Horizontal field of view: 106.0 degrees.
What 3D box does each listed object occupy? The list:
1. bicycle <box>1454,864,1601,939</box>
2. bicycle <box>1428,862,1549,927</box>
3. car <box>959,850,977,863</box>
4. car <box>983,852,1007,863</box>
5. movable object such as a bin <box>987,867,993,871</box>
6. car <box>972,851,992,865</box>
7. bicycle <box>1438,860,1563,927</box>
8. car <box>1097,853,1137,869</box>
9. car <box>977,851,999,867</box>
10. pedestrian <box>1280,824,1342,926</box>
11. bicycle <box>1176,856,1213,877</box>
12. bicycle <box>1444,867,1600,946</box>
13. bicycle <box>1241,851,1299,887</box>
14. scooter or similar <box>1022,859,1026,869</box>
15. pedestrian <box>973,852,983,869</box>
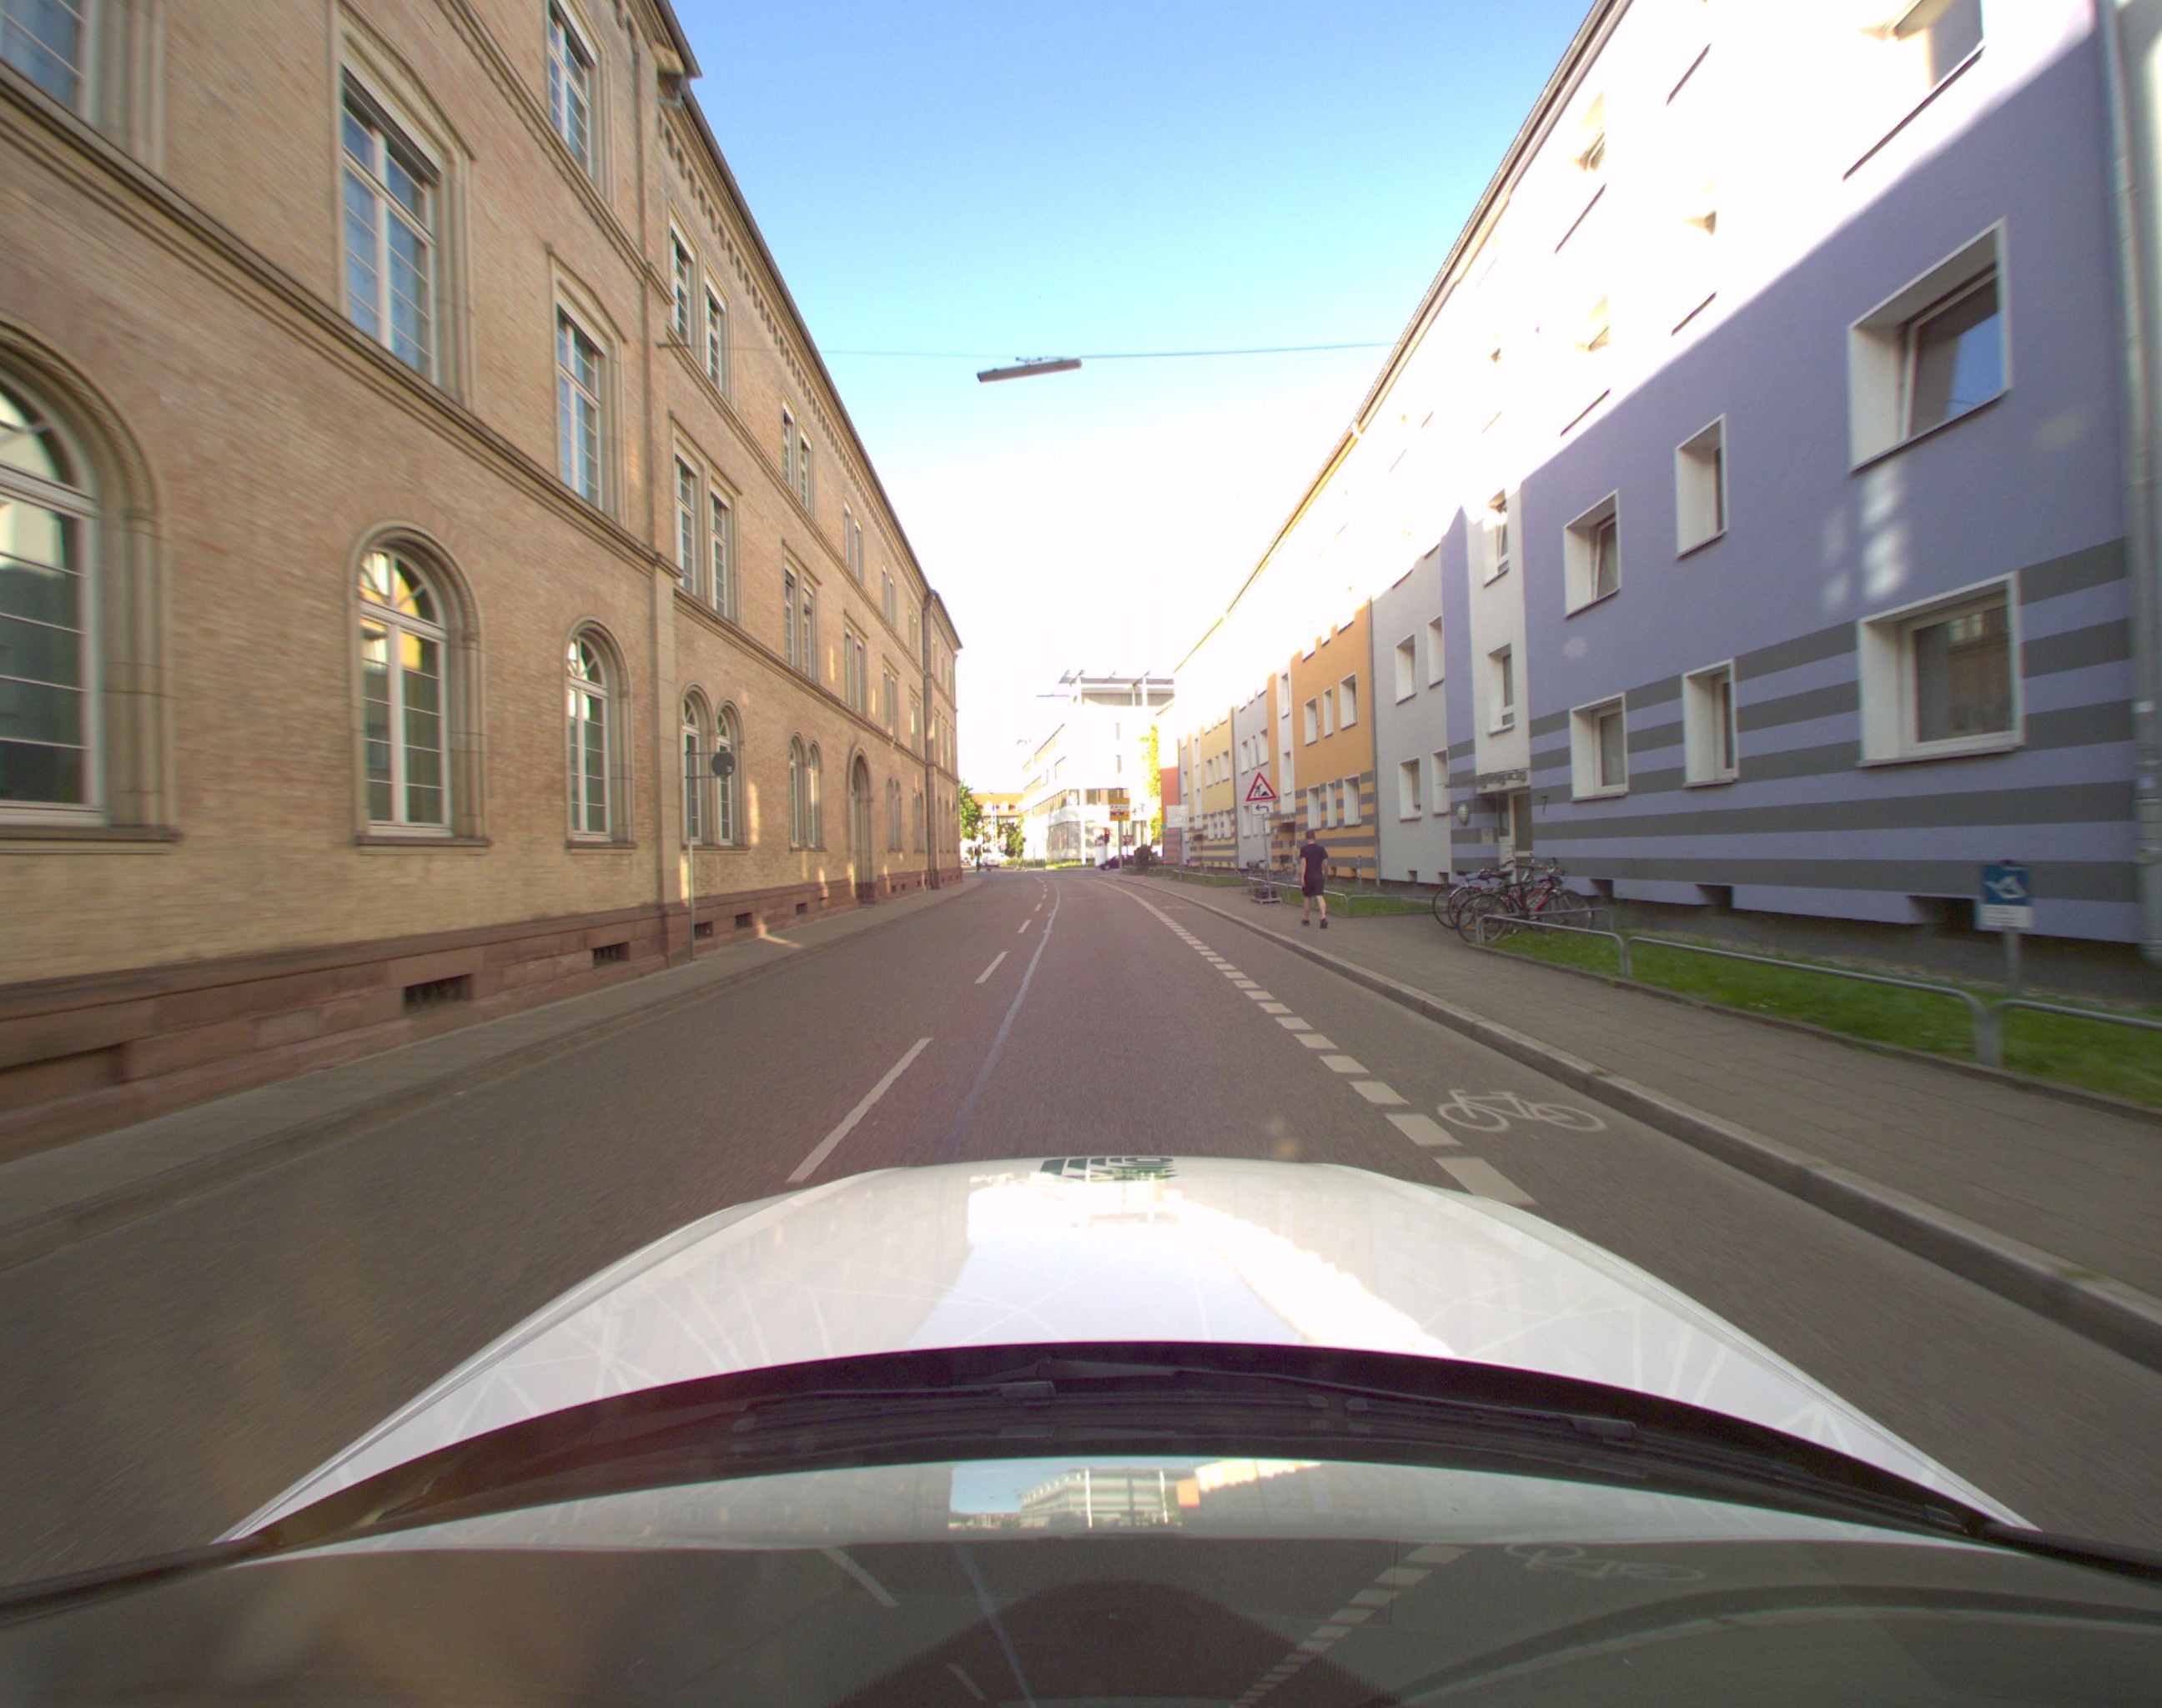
[{"bbox_3d":[6.278,0.656,11.492,1.742,0.946,0.552,-3,-1,0],"label":"bicycle"},{"bbox_3d":[6.512,0.639,13.046,1.742,0.946,0.335,-3,-1,0],"label":"bicycle"},{"bbox_3d":[-18.147,0.454,130.908,2.333,2.112,4.982,0,-1,-14],"label":"car"},{"bbox_3d":[-15.623,0.645,147.988,4.004,1.915,1.905,1,-1,-23],"label":"car"},{"bbox_3d":[-9.271,1.524,82.734,0.590,0.480,0.285,-2,0,-16],"label":"movable object such as a bin"},{"bbox_3d":[-14.754,0.584,121.546,2.333,2.112,4.982,0,-1,-14],"label":"car"},{"bbox_3d":[6.514,0.610,12.669,1.742,0.946,0.326,-3,-1,1],"label":"bicycle"},{"bbox_3d":[3.377,0.650,76.338,3.433,1.446,1.767,-1,-1,-13],"label":"car"},{"bbox_3d":[-12.631,0.737,110.176,2.426,2.112,5.210,0,-1,-12],"label":"car"},{"bbox_3d":[4.188,0.368,14.914,0.694,1.760,1.189,-4,0,1],"label":"pedestrian"},{"bbox_3d":[5.827,0.651,41.774,1.750,1.004,0.612,-3,-1,-5],"label":"bicycle"},{"bbox_3d":[5.857,0.683,10.867,1.742,0.946,0.552,-3,-1,0],"label":"bicycle"},{"bbox_3d":[6.404,0.503,27.627,1.805,1.137,0.551,-2,-1,-2],"label":"bicycle"},{"bbox_3d":[-6.390,1.097,90.926,0.325,1.059,1.138,-2,0,-11],"label":"scooter or similar"},{"bbox_3d":[-10.406,0.652,82.052,0.927,1.759,0.844,0,-1,-13],"label":"pedestrian"}]
